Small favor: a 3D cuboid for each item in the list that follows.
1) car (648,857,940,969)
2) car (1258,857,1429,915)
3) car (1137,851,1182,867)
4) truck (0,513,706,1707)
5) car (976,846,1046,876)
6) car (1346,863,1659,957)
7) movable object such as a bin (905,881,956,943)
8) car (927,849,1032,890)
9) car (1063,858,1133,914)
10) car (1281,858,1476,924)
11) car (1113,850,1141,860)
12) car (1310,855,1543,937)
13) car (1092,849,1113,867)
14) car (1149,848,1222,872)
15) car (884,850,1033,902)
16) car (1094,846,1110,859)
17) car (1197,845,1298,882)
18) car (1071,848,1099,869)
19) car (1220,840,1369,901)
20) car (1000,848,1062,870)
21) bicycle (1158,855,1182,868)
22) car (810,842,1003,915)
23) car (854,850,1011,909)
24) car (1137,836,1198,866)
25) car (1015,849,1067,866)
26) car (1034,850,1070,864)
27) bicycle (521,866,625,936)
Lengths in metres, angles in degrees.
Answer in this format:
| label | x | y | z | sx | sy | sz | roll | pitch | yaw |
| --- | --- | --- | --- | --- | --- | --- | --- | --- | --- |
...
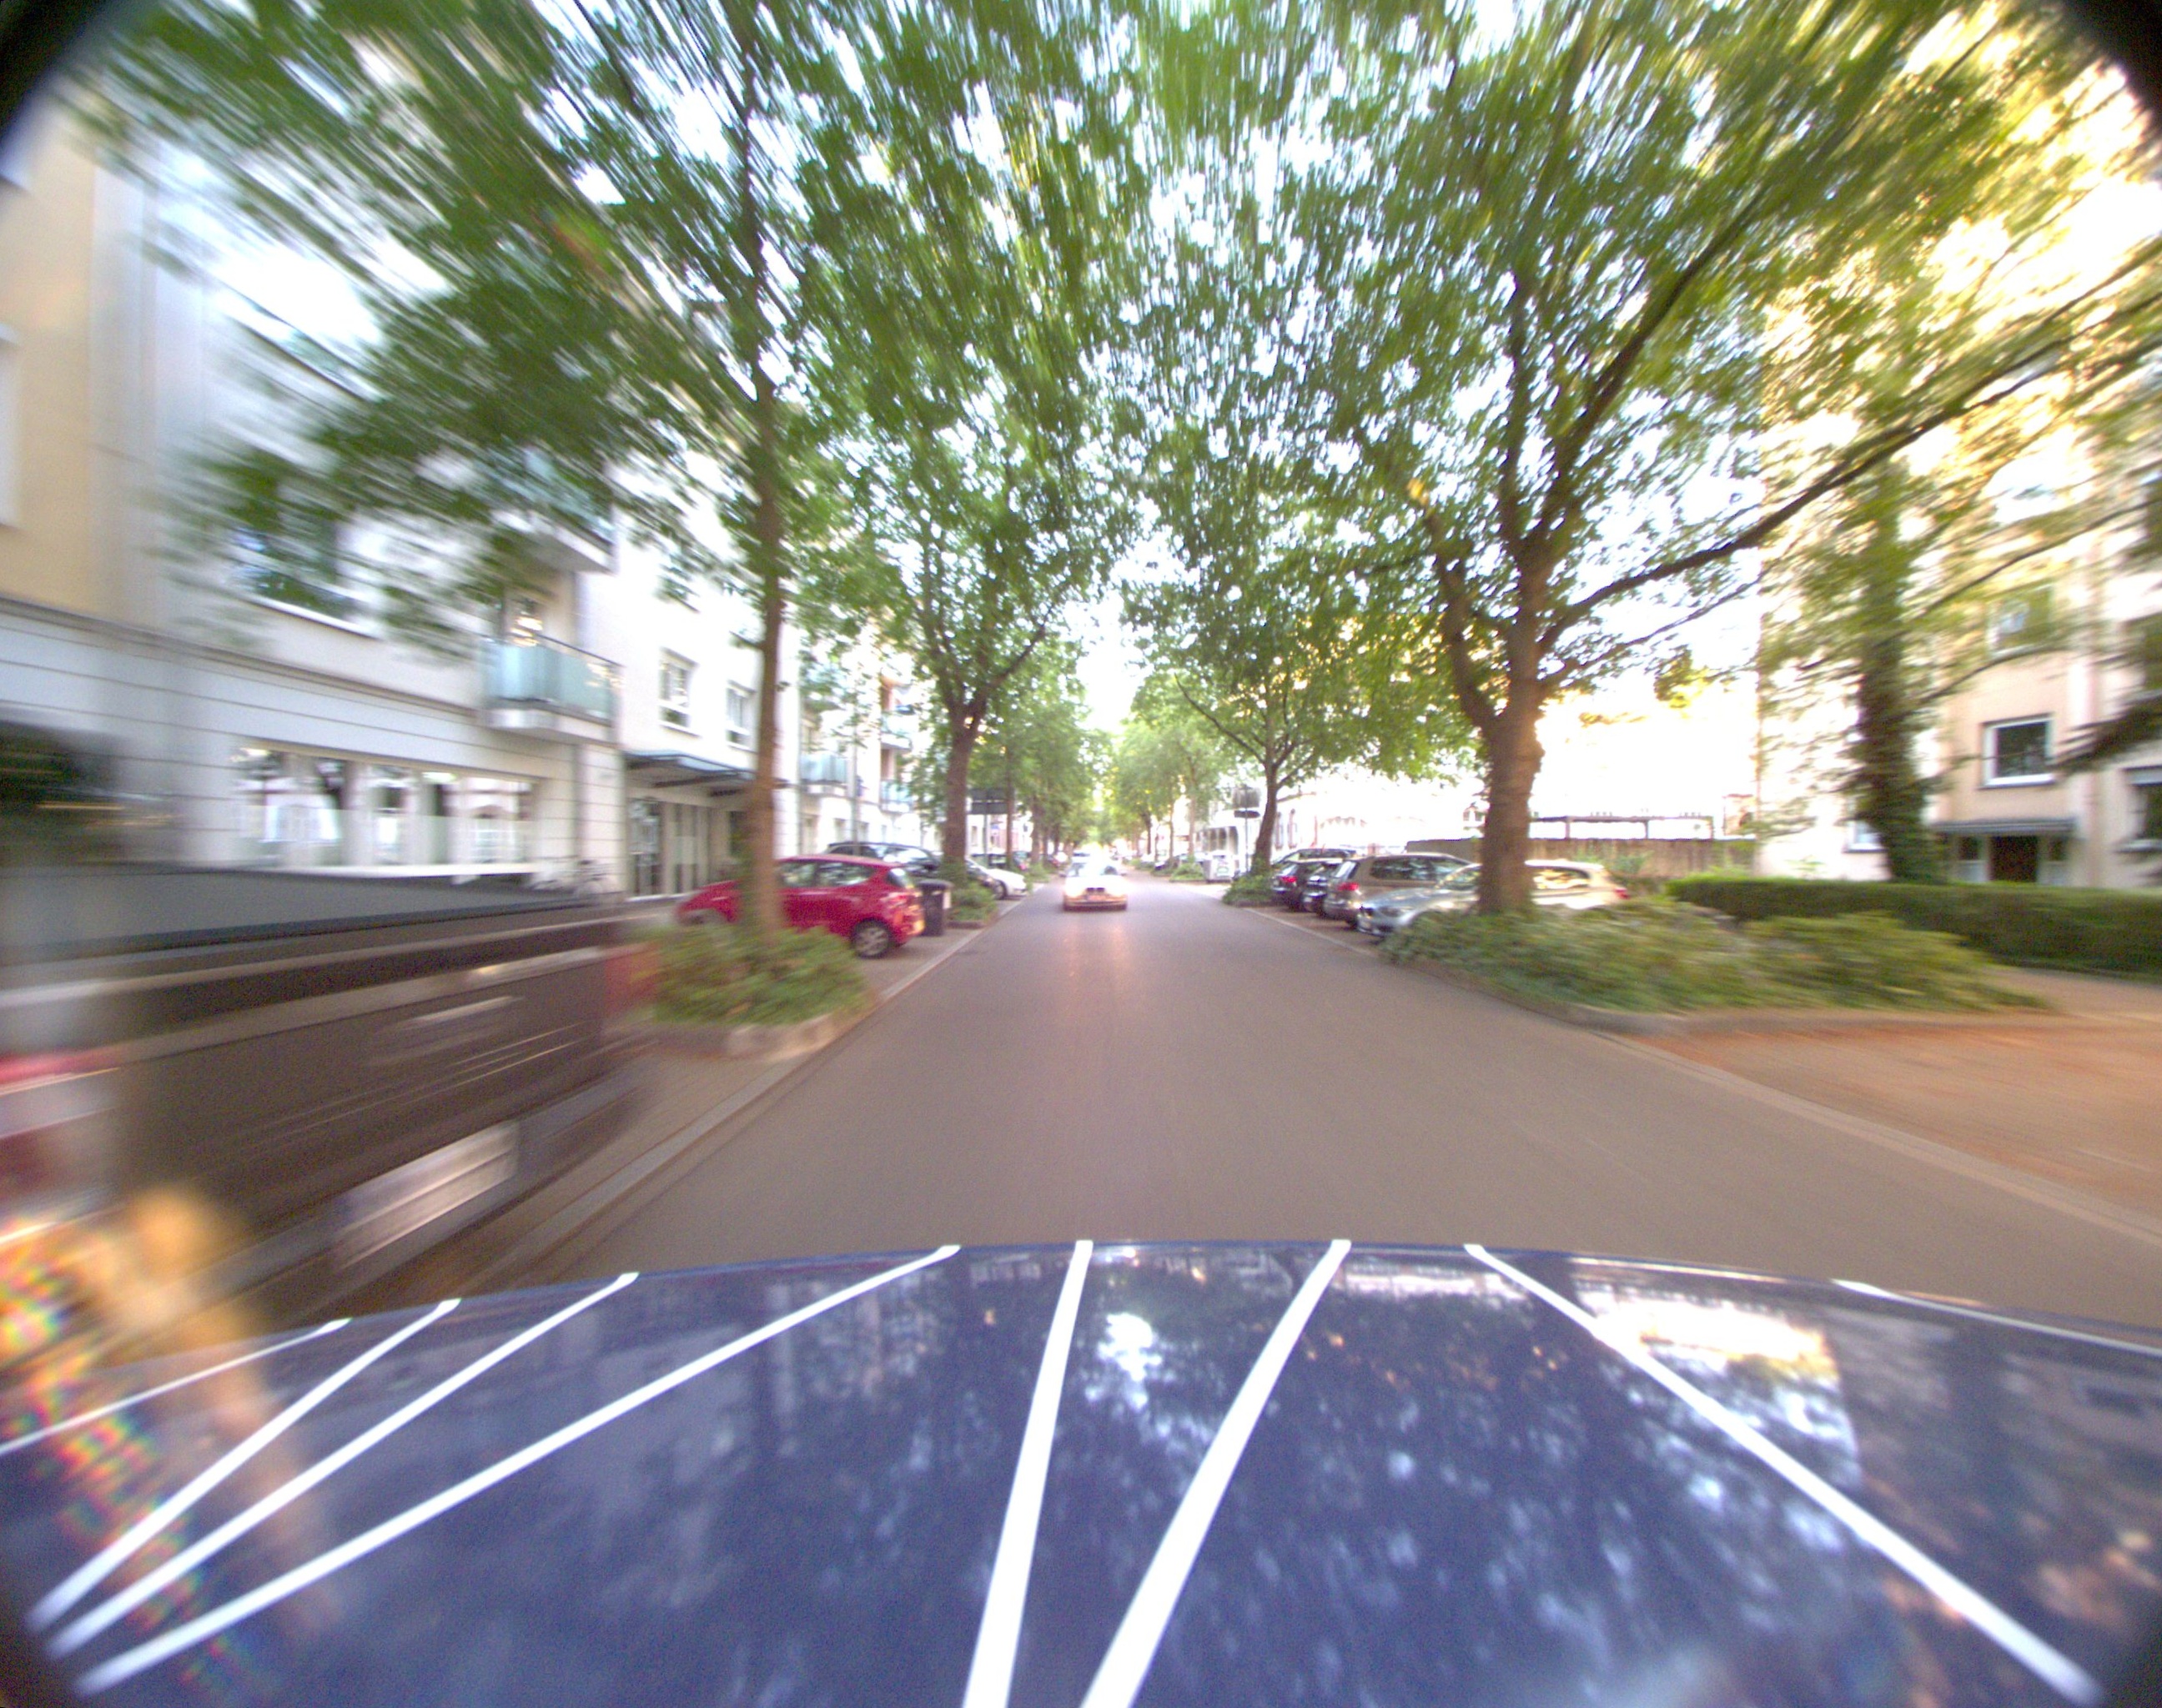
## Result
| label | x | y | z | sx | sy | sz | roll | pitch | yaw |
| --- | --- | --- | --- | --- | --- | --- | --- | --- | --- |
| car | -4.262 | 0.842 | 11.785 | 3.786 | 1.535 | 1.877 | -1 | 1 | -1 |
| car | 7.078 | 0.839 | 20.792 | 3.997 | 1.455 | 1.922 | 0 | 1 | -1 |
| car | 7.588 | 0.468 | 73.623 | 4.178 | 1.460 | 1.953 | 0 | 0 | 1 |
| truck | -4.514 | 0.656 | 2.030 | 5.902 | 2.297 | 2.212 | 0 | 1 | 1 |
| car | -4.152 | 0.407 | 45.449 | 3.979 | 1.576 | 1.916 | 2 | 1 | 0 |
| car | 7.003 | 0.897 | 12.972 | 4.298 | 1.421 | 1.879 | 0 | 1 | 0 |
| movable object such as a bin | -2.822 | 1.081 | 14.329 | 0.762 | 1.078 | 0.785 | 1 | 1 | 1 |
| car | -4.139 | 0.636 | 31.400 | 4.095 | 1.443 | 1.934 | 3 | 0 | -5 |
| car | 0.378 | 0.815 | 21.296 | 1.737 | 1.363 | 4.331 | 0 | 0 | -2 |
| car | 7.102 | 0.857 | 18.409 | 3.998 | 1.482 | 1.825 | 0 | 1 | -2 |
| car | 7.887 | 0.131 | 129.499 | 4.601 | 1.725 | 2.142 | 0 | 0 | 5 |
| car | 6.978 | 0.816 | 15.745 | 3.995 | 1.556 | 1.930 | 0 | 1 | 6 |
| car | 2.303 | 0.383 | 79.781 | 1.998 | 1.838 | 4.001 | -1 | 0 | 5 |
| car | 7.234 | 0.414 | 52.972 | 4.864 | 1.612 | 2.160 | -1 | 1 | 1 |
| car | -4.006 | 0.698 | 25.376 | 4.611 | 1.459 | 1.796 | 3 | 1 | 0 |
| car | 3.003 | -0.220 | 109.310 | 1.998 | 1.838 | 4.001 | -1 | 0 | 5 |
| car | 8.156 | 0.441 | 37.503 | 4.517 | 1.761 | 2.000 | -1 | 1 | -1 |
| car | 0.362 | 0.329 | 61.543 | 1.892 | 1.636 | 4.001 | -1 | 0 | 5 |
| car | 7.221 | 0.529 | 26.008 | 4.517 | 1.944 | 2.000 | -1 | 1 | -1 |
| car | -3.807 | 0.368 | 58.644 | 4.468 | 1.419 | 2.012 | 2 | 1 | 5 |
| bicycle | 5.966 | 0.515 | 50.860 | 1.556 | 0.826 | 0.613 | 0 | 1 | 4 |
| car | -4.499 | 0.628 | 20.206 | 4.655 | 1.608 | 2.009 | 3 | 0 | -3 |
| car | -4.364 | 0.722 | 22.799 | 4.233 | 1.430 | 1.930 | 3 | 1 | 2 |
| car | 7.409 | -0.241 | 65.378 | 5.016 | 2.558 | 2.121 | 0 | 0 | 0 |
| car | -3.872 | 0.350 | 73.962 | 4.851 | 1.440 | 2.042 | 2 | 1 | 3 |
| car | -3.383 | 0.336 | 87.791 | 4.093 | 1.482 | 1.797 | 0 | 0 | -2 |
| bicycle | -8.395 | 0.742 | 12.646 | 0.425 | 1.031 | 1.882 | 1 | 0 | 1 |
